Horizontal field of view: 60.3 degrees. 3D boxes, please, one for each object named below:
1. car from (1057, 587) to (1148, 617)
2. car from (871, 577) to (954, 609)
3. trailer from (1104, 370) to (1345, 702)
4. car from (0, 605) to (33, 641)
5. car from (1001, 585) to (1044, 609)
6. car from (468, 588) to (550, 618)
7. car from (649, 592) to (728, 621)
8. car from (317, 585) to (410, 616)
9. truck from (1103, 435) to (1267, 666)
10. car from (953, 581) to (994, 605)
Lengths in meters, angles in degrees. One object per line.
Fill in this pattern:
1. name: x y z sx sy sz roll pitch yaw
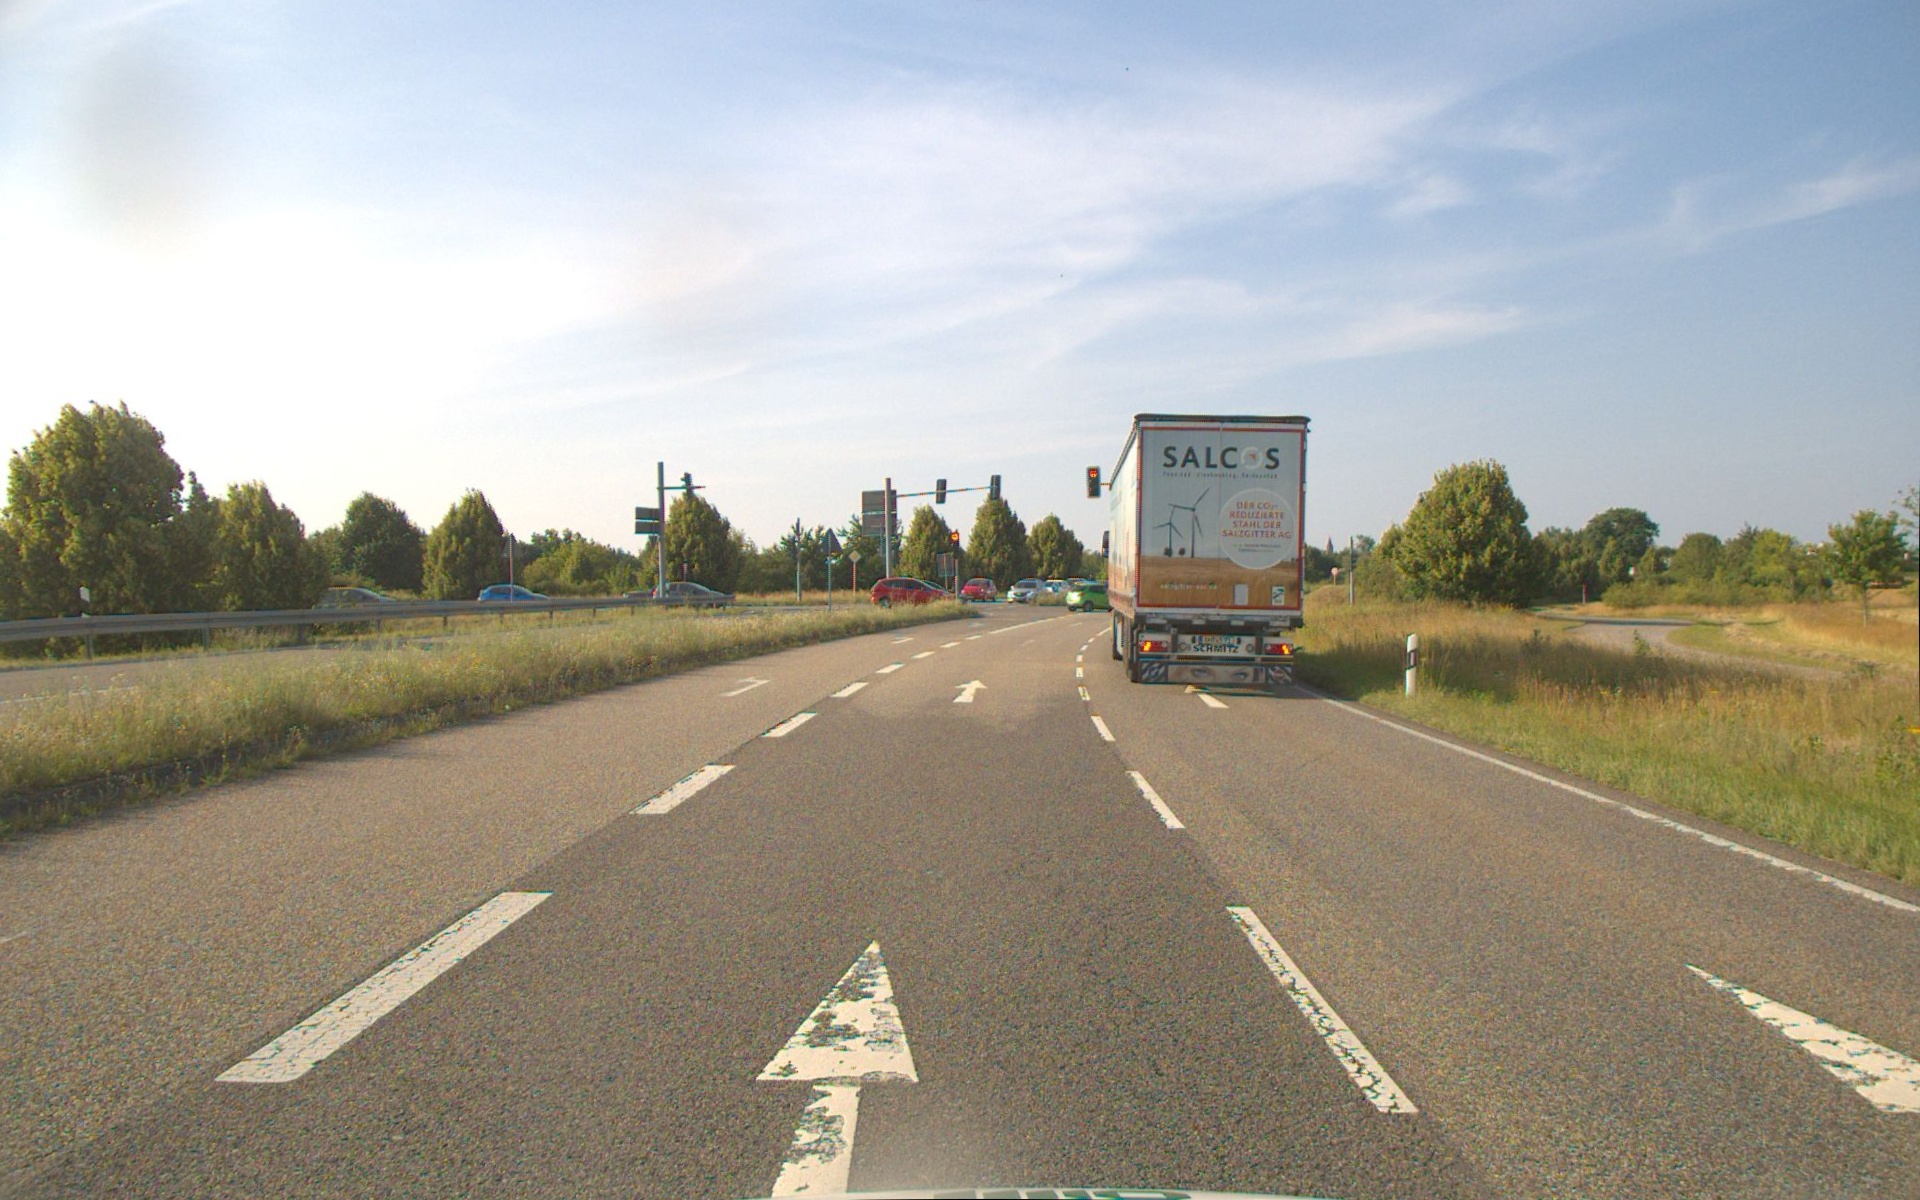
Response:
1. car: 7.469 0.114 86.731 4.350 1.442 1.912 1 -1 -17
2. car: -2.444 -0.355 85.412 4.178 1.592 1.901 1 -1 -2
3. trailer: 4.397 -1.003 30.533 3.212 4.762 13.155 1 1 4
4. car: -55.752 1.292 94.911 3.907 2.049 1.999 1 -1 -3
5. car: 4.020 -0.226 105.545 1.748 1.514 4.654 0 0 15
6. car: -24.317 0.154 89.286 3.887 1.518 1.780 1 1 13
7. car: -14.266 0.344 86.976 3.702 1.440 1.922 1 -1 8
8. car: -32.579 0.022 90.433 4.420 1.593 1.817 1 0 7
9. truck: 4.912 -1.044 37.176 3.230 4.739 5.735 1 0 4
10. car: 0.925 -0.462 108.246 1.684 1.514 3.807 0 0 16
